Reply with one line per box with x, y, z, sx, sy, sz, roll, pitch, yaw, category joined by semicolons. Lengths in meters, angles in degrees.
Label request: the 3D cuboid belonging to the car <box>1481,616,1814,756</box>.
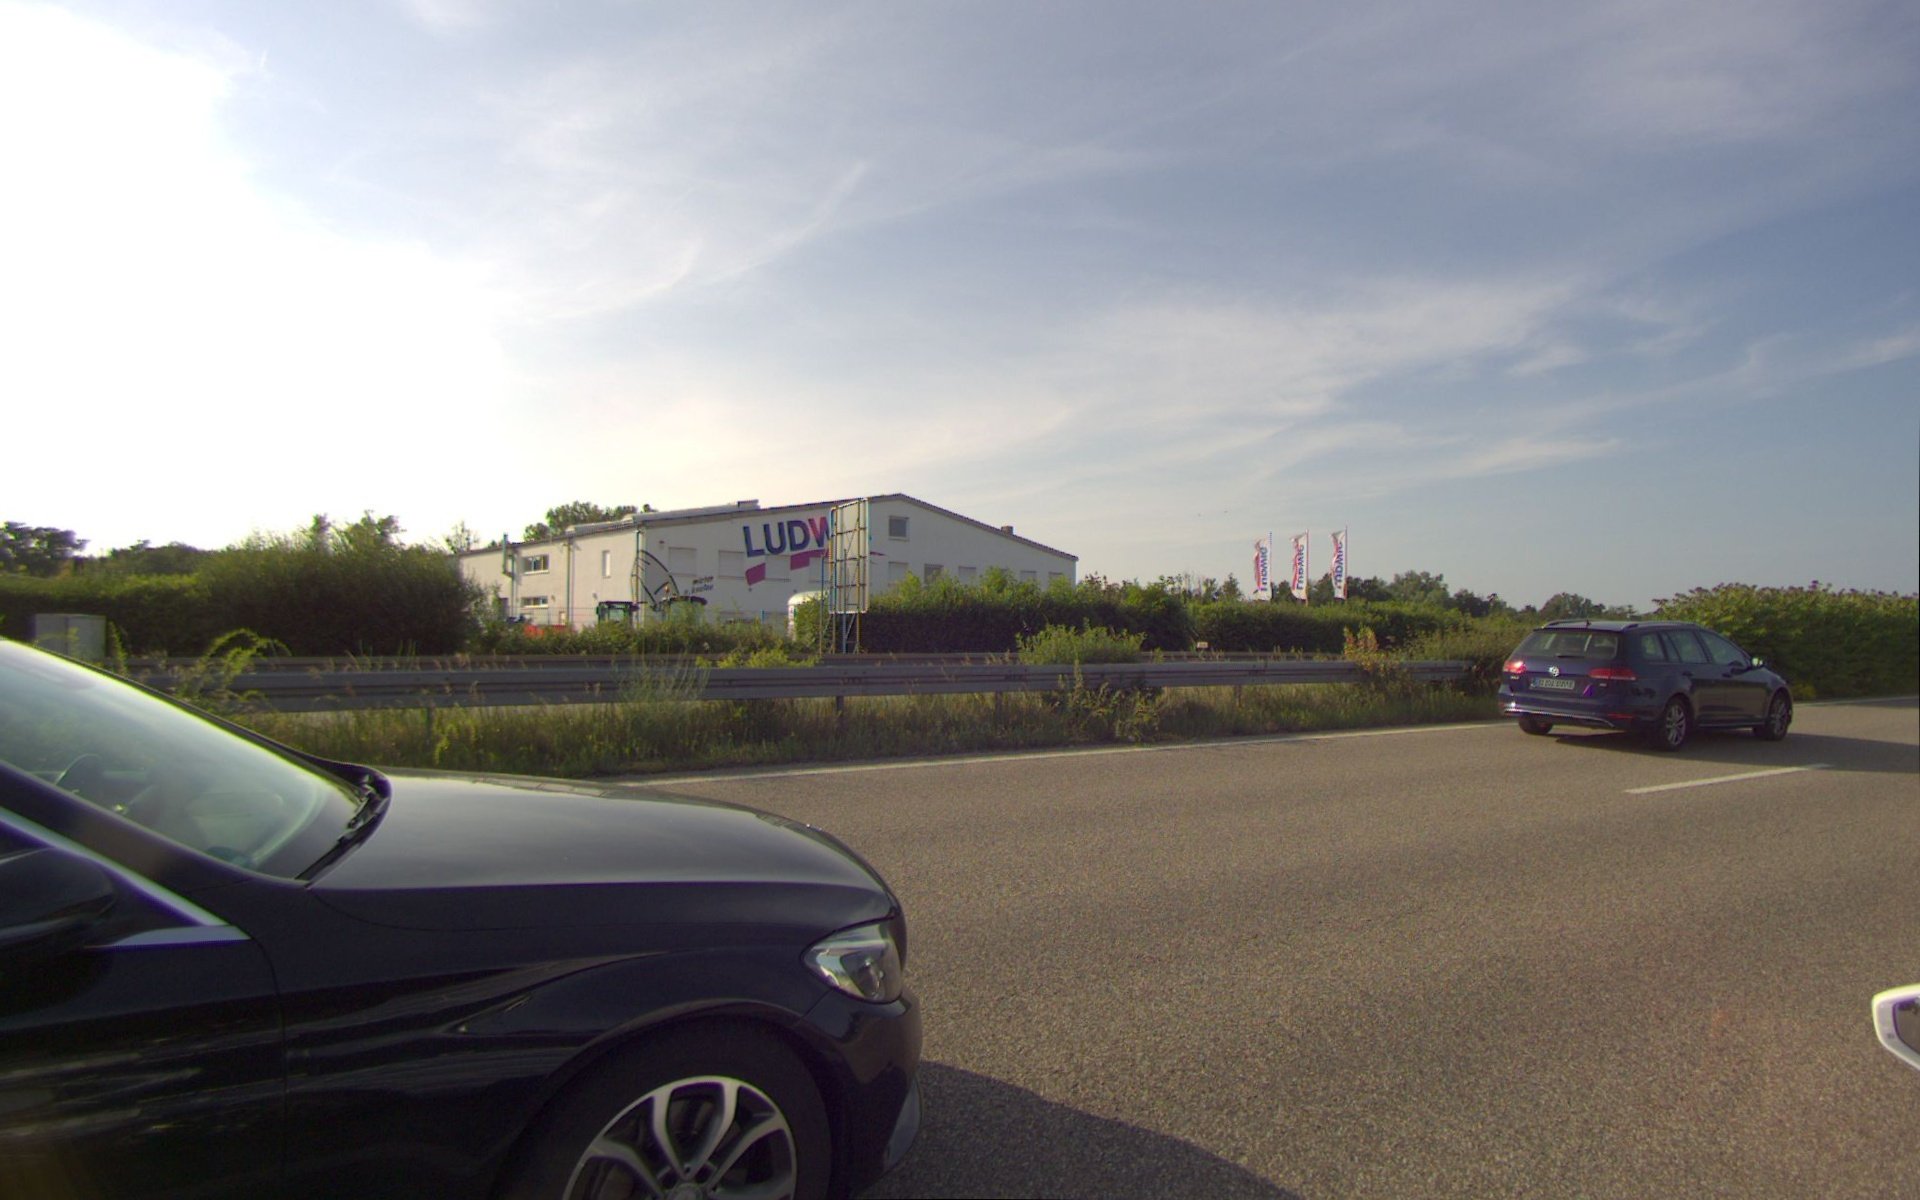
8.766;0.983;12.682;4.720;1.490;1.638;1;-1;-30;car

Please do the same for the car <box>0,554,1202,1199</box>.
-1.936;0.681;1.893;4.963;1.490;1.565;2;-1;-30;car
